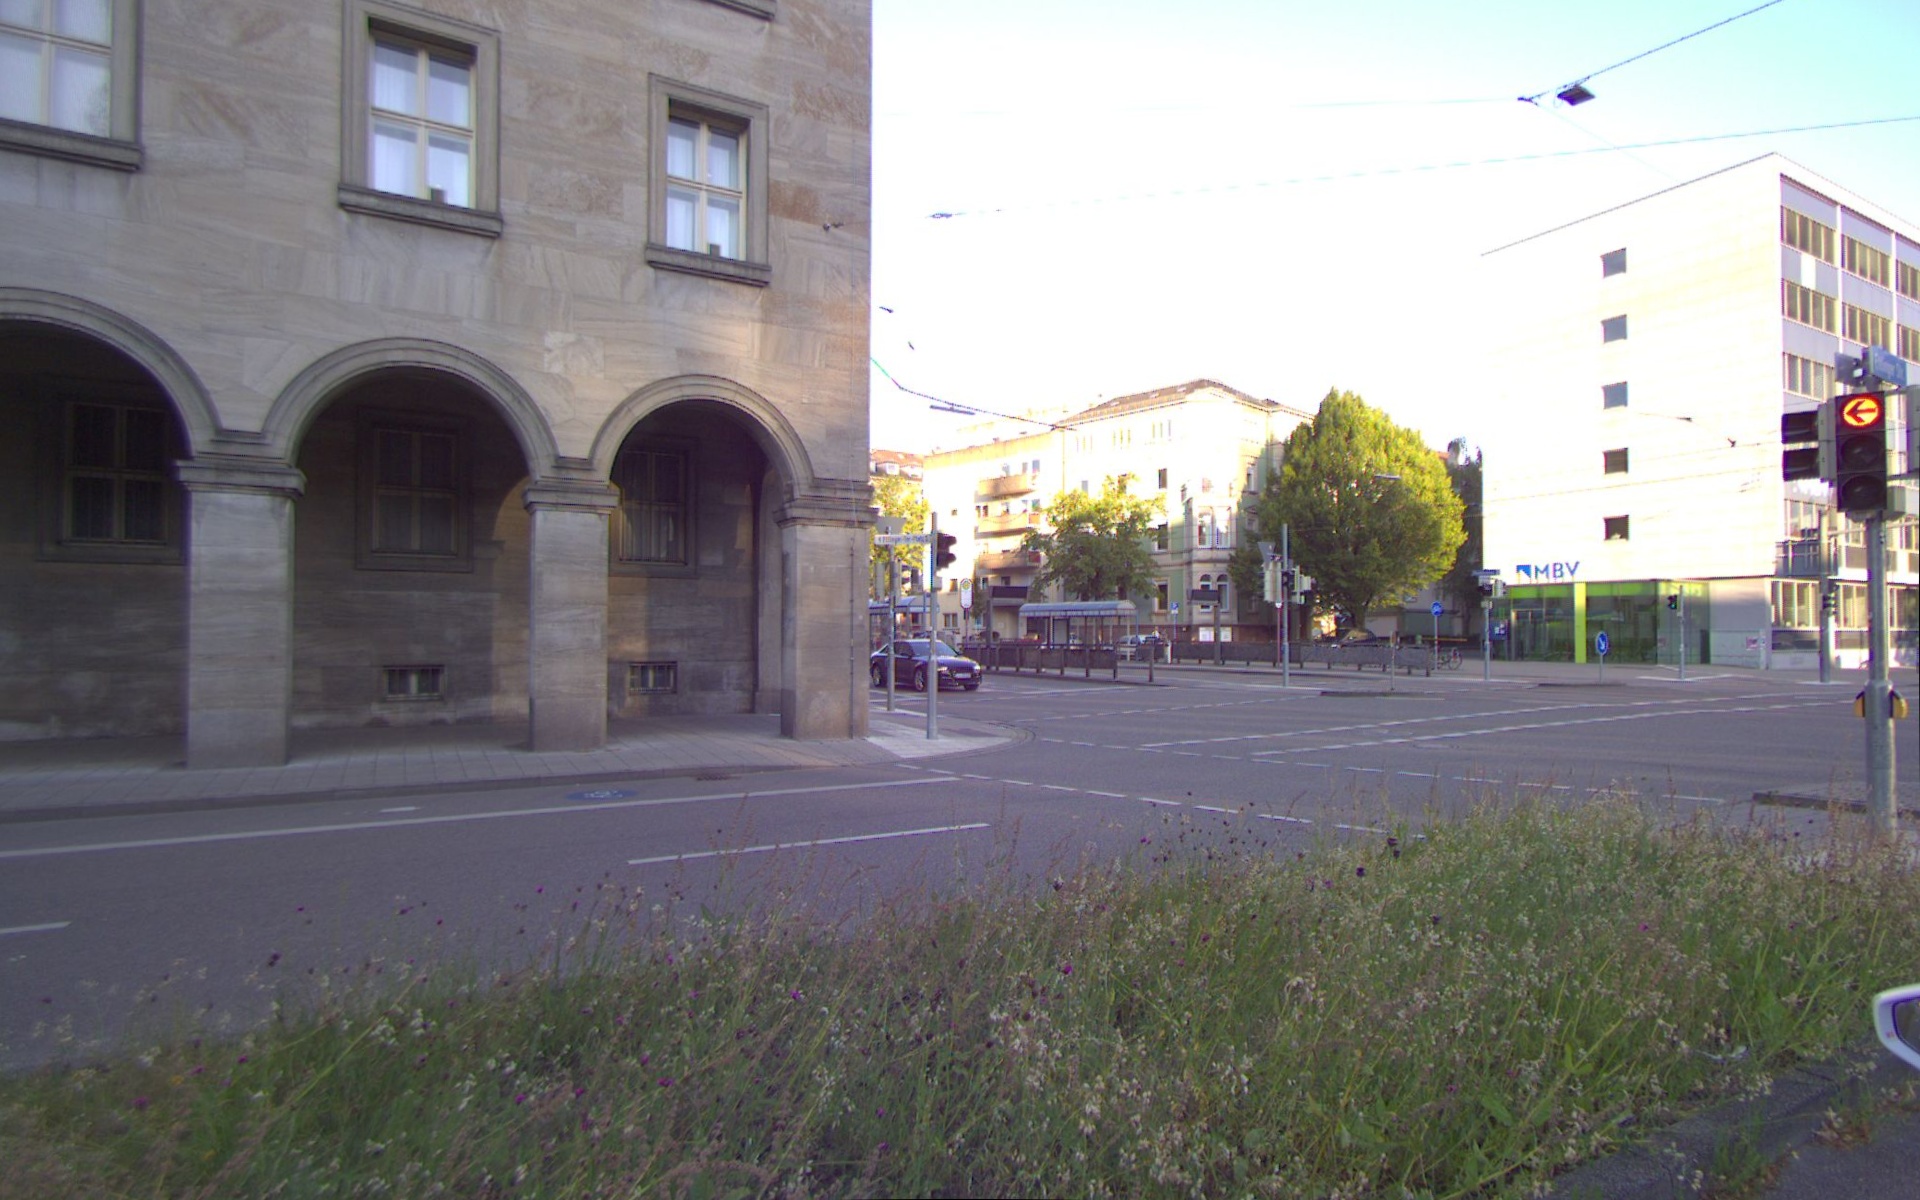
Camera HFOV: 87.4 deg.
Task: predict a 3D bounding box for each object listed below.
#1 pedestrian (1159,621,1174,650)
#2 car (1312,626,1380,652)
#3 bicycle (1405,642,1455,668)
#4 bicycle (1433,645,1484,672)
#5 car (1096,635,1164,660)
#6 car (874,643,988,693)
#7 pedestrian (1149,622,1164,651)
[{"bbox_3d":[13.125,2.280,63.883,0.718,1.813,0.634,2,-2,-43],"label":"pedestrian"},{"bbox_3d":[21.658,2.195,56.325,3.553,1.390,1.826,1,-2,-32],"label":"car"},{"bbox_3d":[20.956,2.431,44.766,2.183,1.127,0.834,1,-2,-26],"label":"bicycle"},{"bbox_3d":[21.572,2.524,43.488,2.183,1.127,0.834,1,-2,-26],"label":"bicycle"},{"bbox_3d":[9.999,2.774,59.220,3.545,1.390,1.830,-2,-3,45],"label":"car"},{"bbox_3d":[-0.946,1.957,29.793,1.791,1.344,4.120,1,-2,-27],"label":"car"},{"bbox_3d":[12.441,2.301,63.492,0.718,1.813,0.634,2,-2,-44],"label":"pedestrian"}]
